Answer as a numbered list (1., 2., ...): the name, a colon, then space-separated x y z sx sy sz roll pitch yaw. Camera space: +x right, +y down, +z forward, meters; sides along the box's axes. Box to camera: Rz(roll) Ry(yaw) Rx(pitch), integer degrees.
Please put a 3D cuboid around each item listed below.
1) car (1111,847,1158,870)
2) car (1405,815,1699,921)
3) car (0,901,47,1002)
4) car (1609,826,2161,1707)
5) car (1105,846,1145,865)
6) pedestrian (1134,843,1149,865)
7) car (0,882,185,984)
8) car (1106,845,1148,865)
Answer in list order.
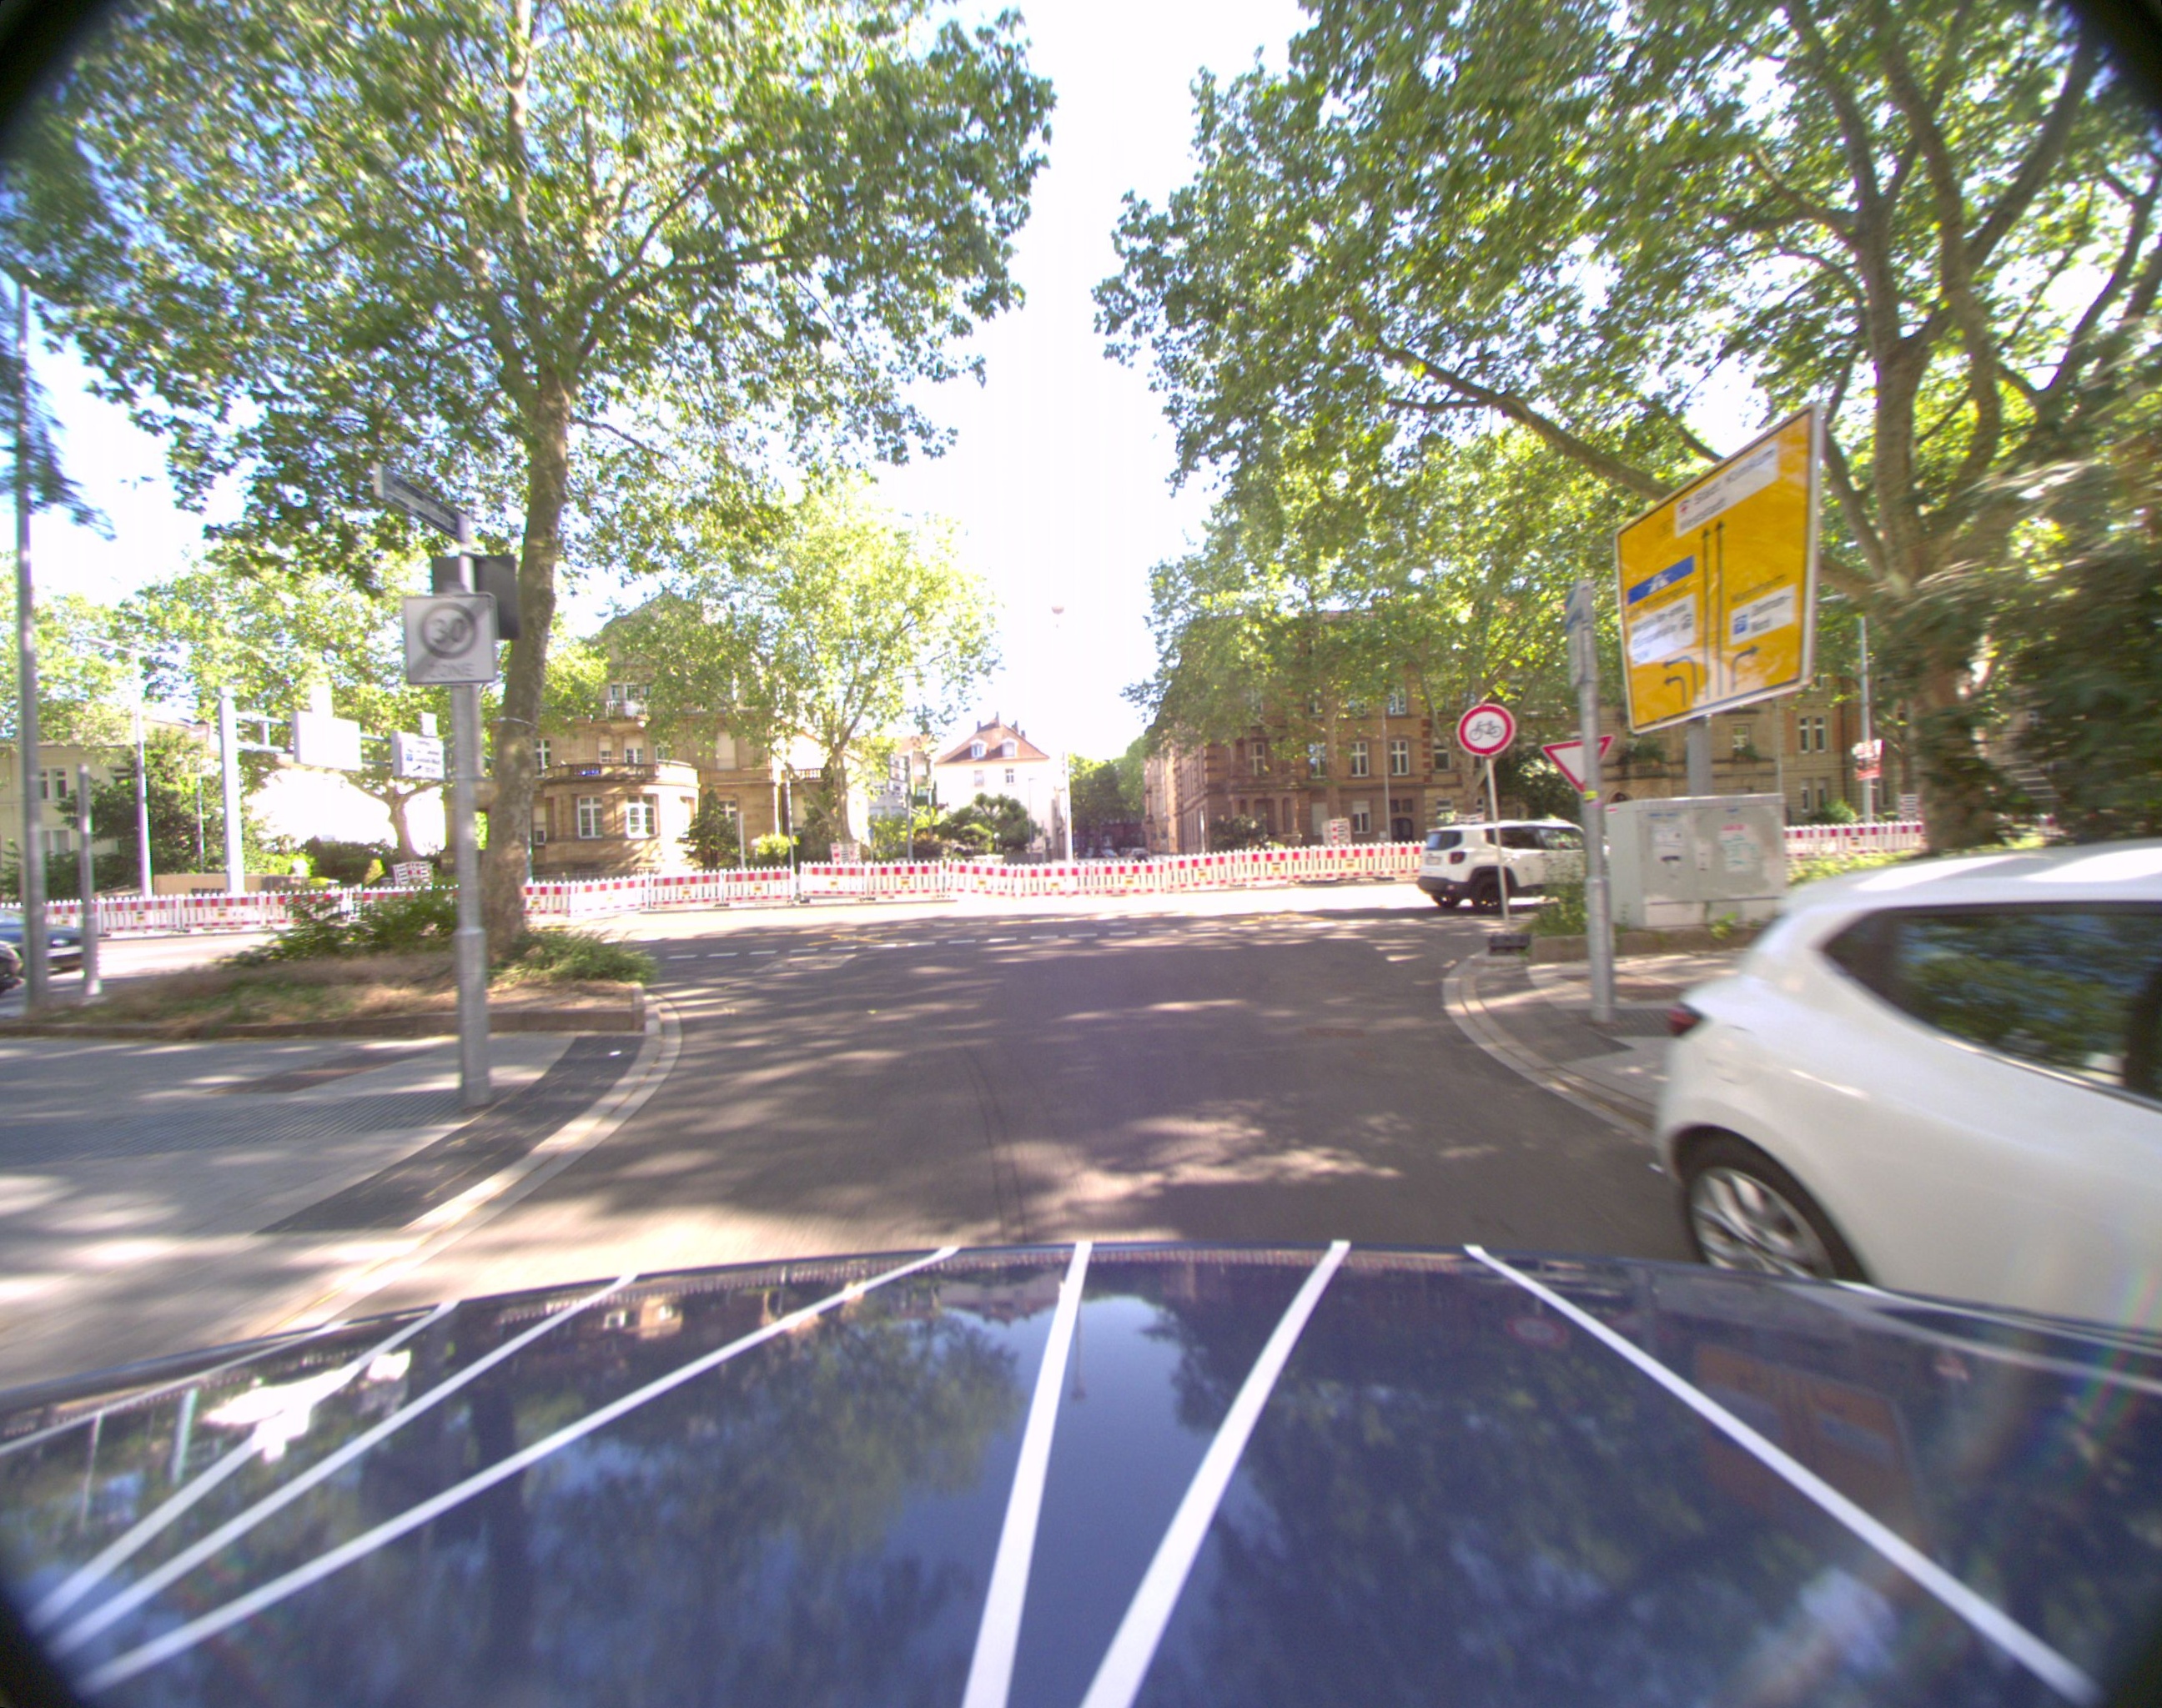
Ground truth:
1. car: 4.430 0.368 63.557 3.800 1.726 1.623 -2 0 2
2. car: 8.895 0.230 14.615 4.504 1.716 1.869 -3 2 -1
3. car: -18.004 1.525 10.866 4.095 1.477 1.625 -3 -1 -1
4. car: 2.744 0.776 0.589 1.871 1.552 3.941 -4 1 1
5. car: 4.262 0.144 74.351 3.800 1.726 1.623 -2 0 2
6. pedestrian: 4.612 0.026 58.328 0.761 1.651 0.826 -3 0 -25
7. car: -20.927 1.554 14.801 4.504 1.716 1.869 -3 2 -1
8. car: 4.139 0.101 69.160 3.676 1.640 1.600 -2 0 1
